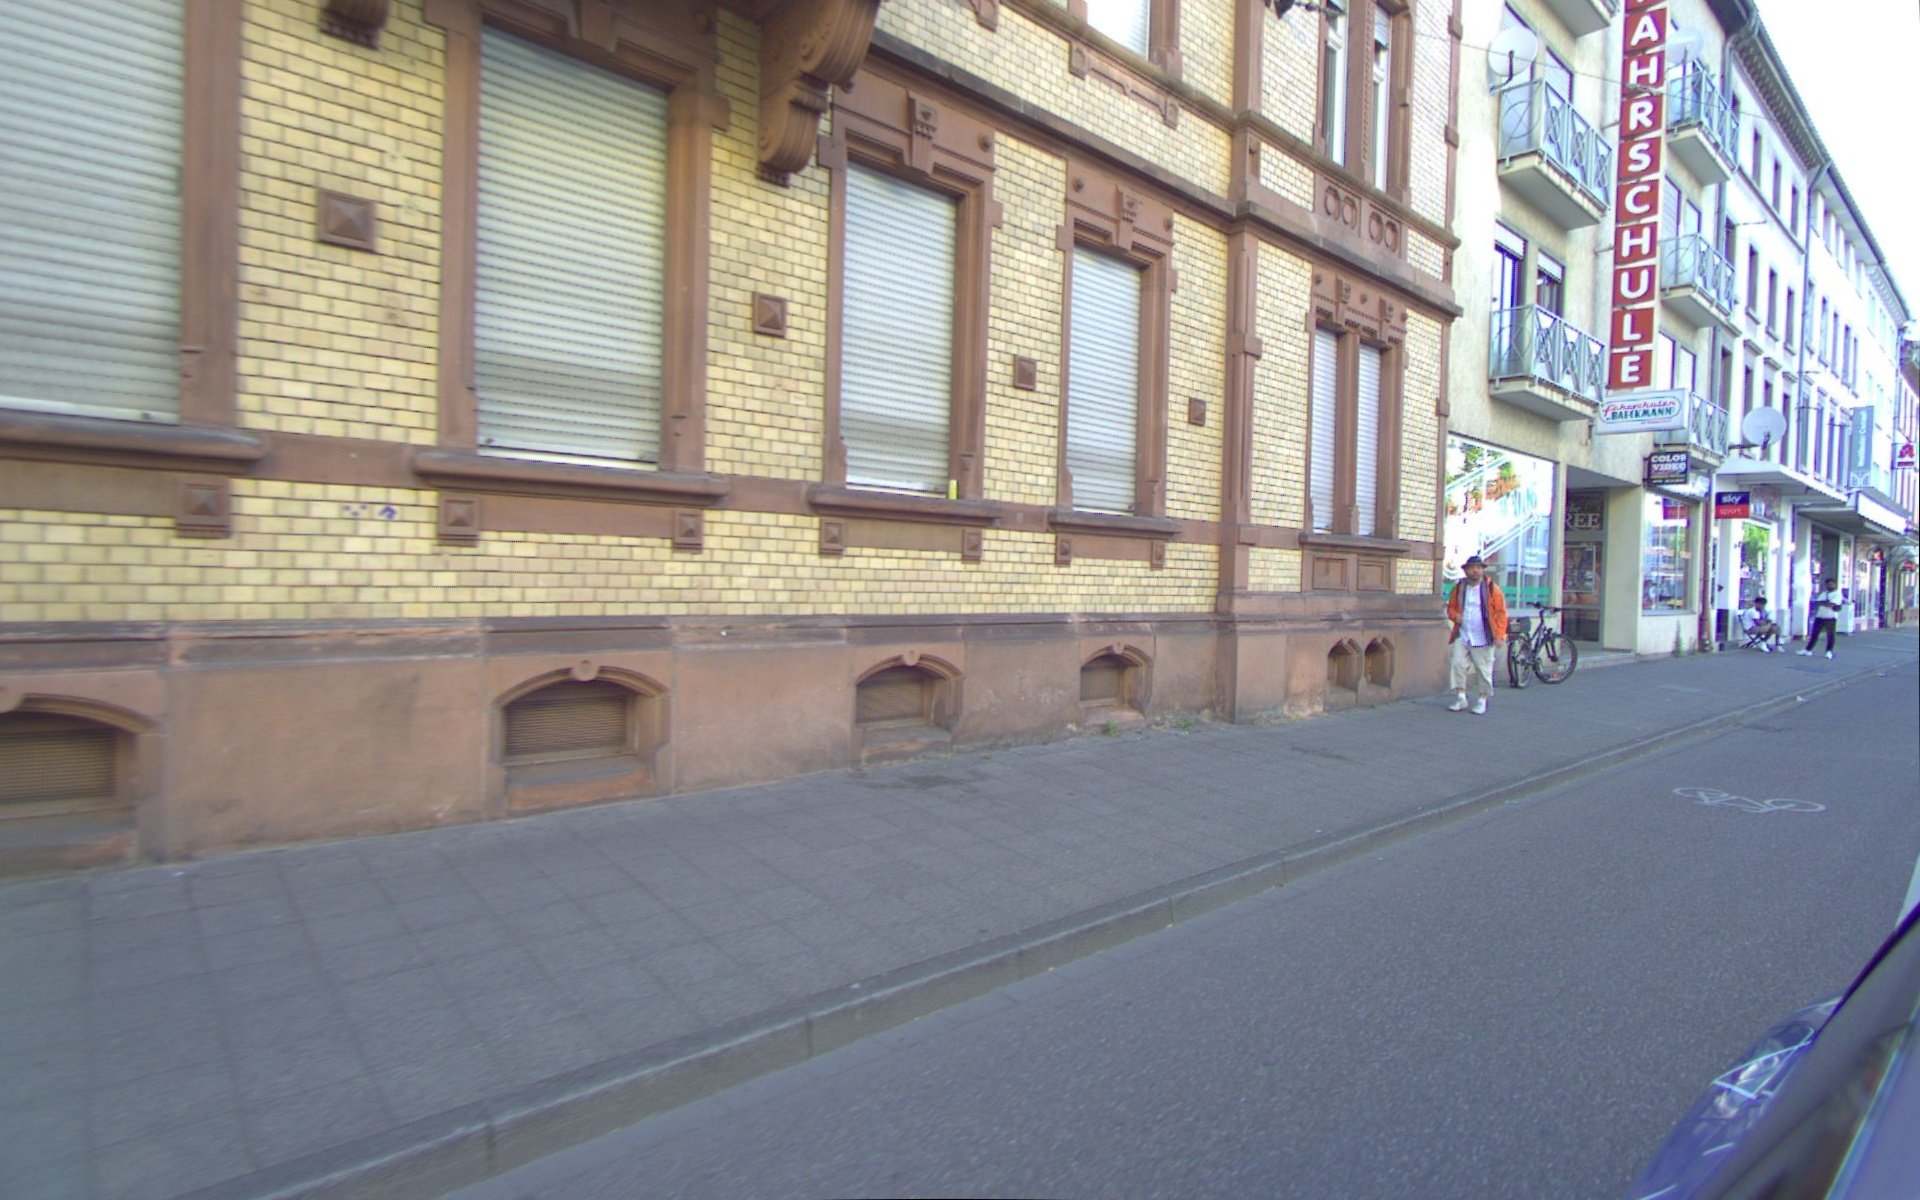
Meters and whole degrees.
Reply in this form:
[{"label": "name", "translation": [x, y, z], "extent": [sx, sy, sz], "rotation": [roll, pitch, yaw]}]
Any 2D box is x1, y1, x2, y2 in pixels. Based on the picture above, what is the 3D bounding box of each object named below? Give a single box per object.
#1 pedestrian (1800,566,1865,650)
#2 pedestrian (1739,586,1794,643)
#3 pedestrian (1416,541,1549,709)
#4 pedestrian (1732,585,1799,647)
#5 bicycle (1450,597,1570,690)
[{"label": "pedestrian", "translation": [20.140, 0.172, 23.371], "extent": [0.665, 1.832, 0.709], "rotation": [3, 5, -26]}, {"label": "pedestrian", "translation": [18.999, 0.327, 23.861], "extent": [0.701, 1.188, 1.006], "rotation": [8, 6, 29]}, {"label": "pedestrian", "translation": [5.561, 0.254, 10.784], "extent": [0.810, 1.646, 0.801], "rotation": [3, 5, -36]}, {"label": "pedestrian", "translation": [18.361, 0.361, 23.077], "extent": [0.819, 1.270, 0.704], "rotation": [7, 5, 13]}, {"label": "bicycle", "translation": [7.178, 0.523, 13.154], "extent": [2.271, 1.073, 0.556], "rotation": [0, 4, -41]}]
